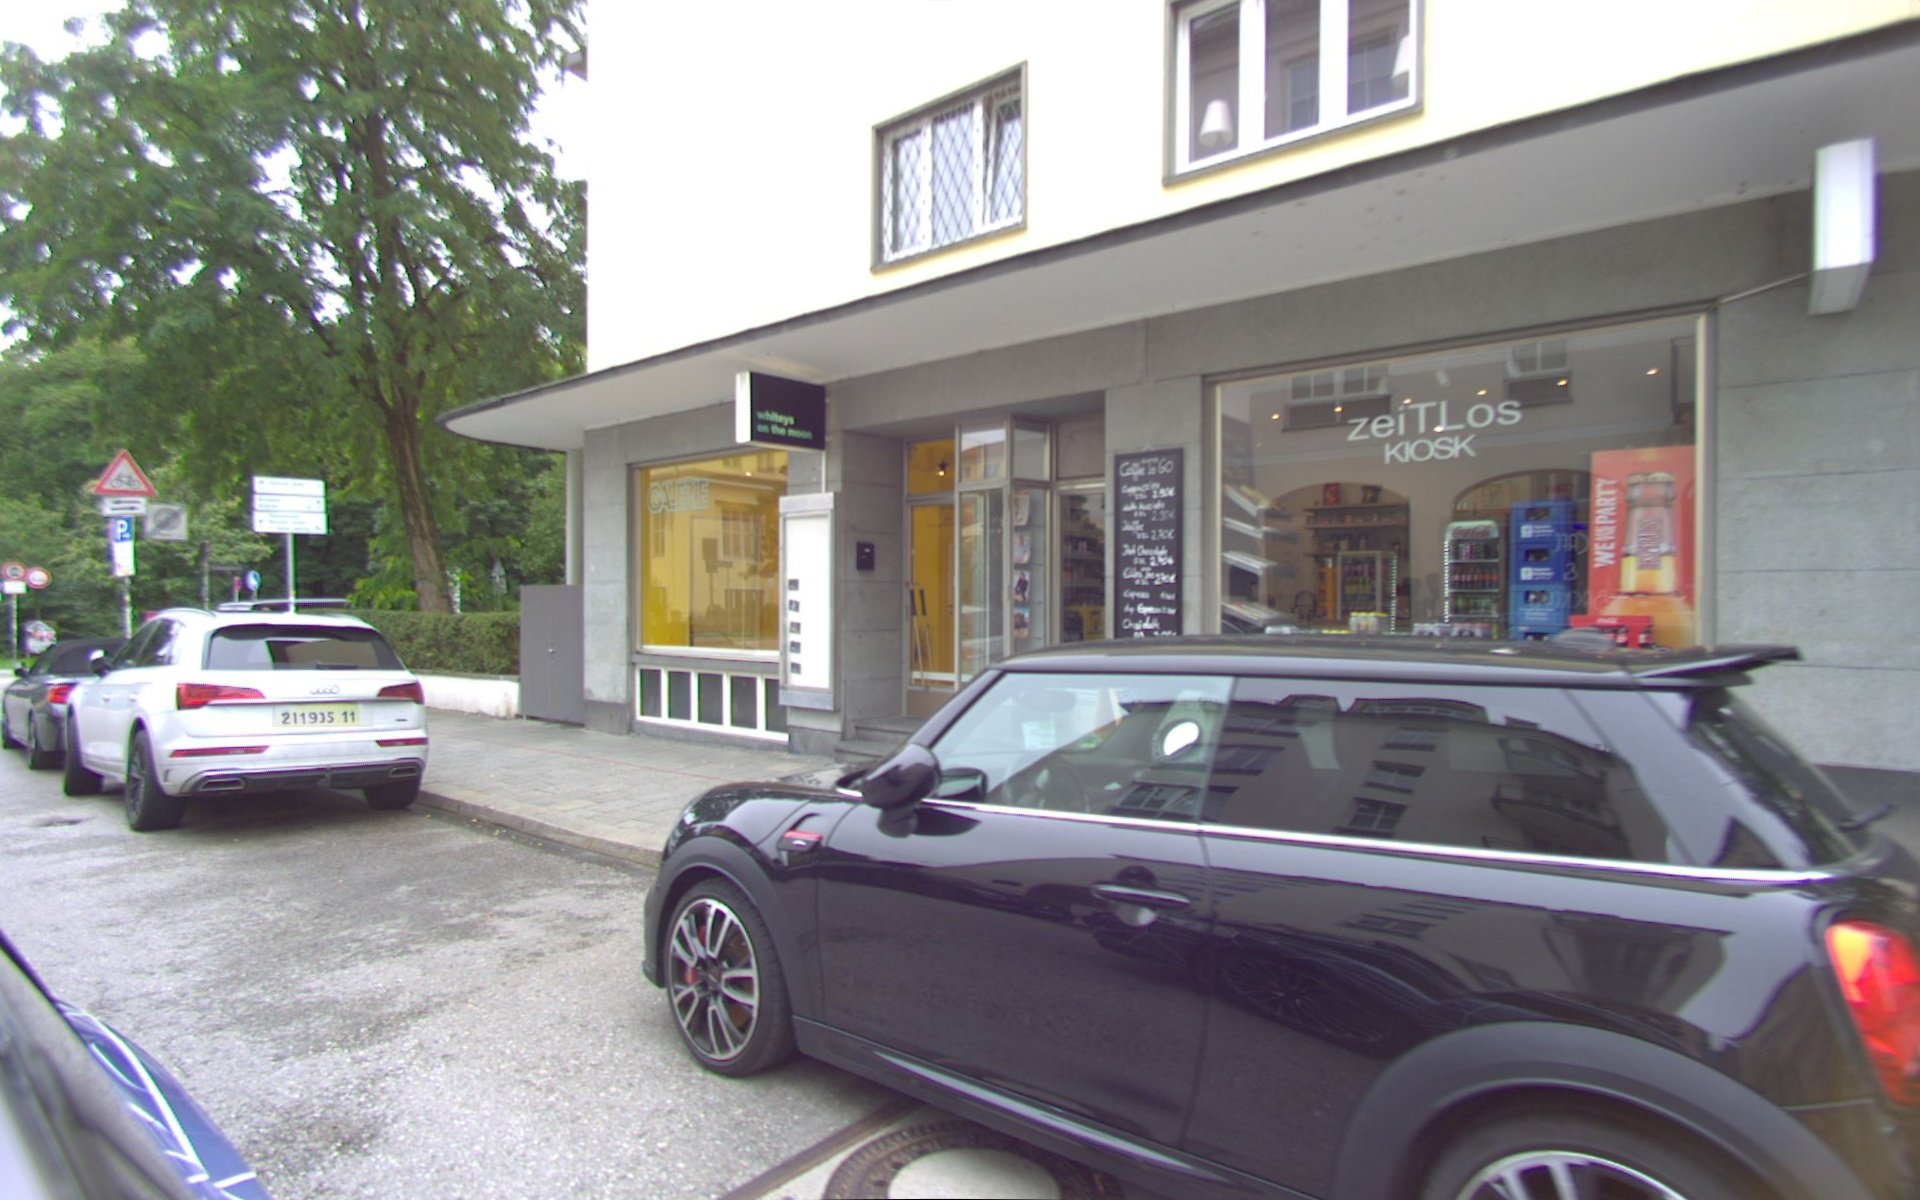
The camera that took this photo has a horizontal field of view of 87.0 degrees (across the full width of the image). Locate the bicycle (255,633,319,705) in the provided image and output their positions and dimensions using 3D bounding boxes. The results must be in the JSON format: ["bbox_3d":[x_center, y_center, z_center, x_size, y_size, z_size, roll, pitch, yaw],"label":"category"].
[{"bbox_3d":[-12.291,1.228,18.457,1.854,1.219,0.555,-1,0,43],"label":"bicycle"}]

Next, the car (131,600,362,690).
[{"bbox_3d":[-17.822,1.055,25.524,1.925,2.016,4.382,1,0,25],"label":"car"}]

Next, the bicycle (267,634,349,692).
[{"bbox_3d":[-14.384,1.366,22.382,0.575,1.165,1.952,-2,-1,-1],"label":"bicycle"}]

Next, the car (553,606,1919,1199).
[{"bbox_3d":[0.533,0.807,3.146,4.095,1.482,1.661,-1,-3,41],"label":"car"}]

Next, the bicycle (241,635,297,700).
[{"bbox_3d":[-13.737,1.308,20.171,0.573,1.135,2.305,-1,0,-26],"label":"bicycle"}]

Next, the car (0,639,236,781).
[{"bbox_3d":[-10.420,1.195,12.267,4.095,1.421,1.727,-2,-3,40],"label":"car"}]

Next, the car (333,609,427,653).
[{"bbox_3d":[-29.845,1.570,52.169,3.900,2.120,1.911,-1,0,-19],"label":"car"}]

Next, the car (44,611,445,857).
[{"bbox_3d":[-6.280,0.979,8.692,4.335,1.596,1.784,-3,-4,40],"label":"car"}]

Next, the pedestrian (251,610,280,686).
[{"bbox_3d":[-16.867,1.163,24.601,0.552,1.812,0.642,0,-3,-32],"label":"pedestrian"}]
